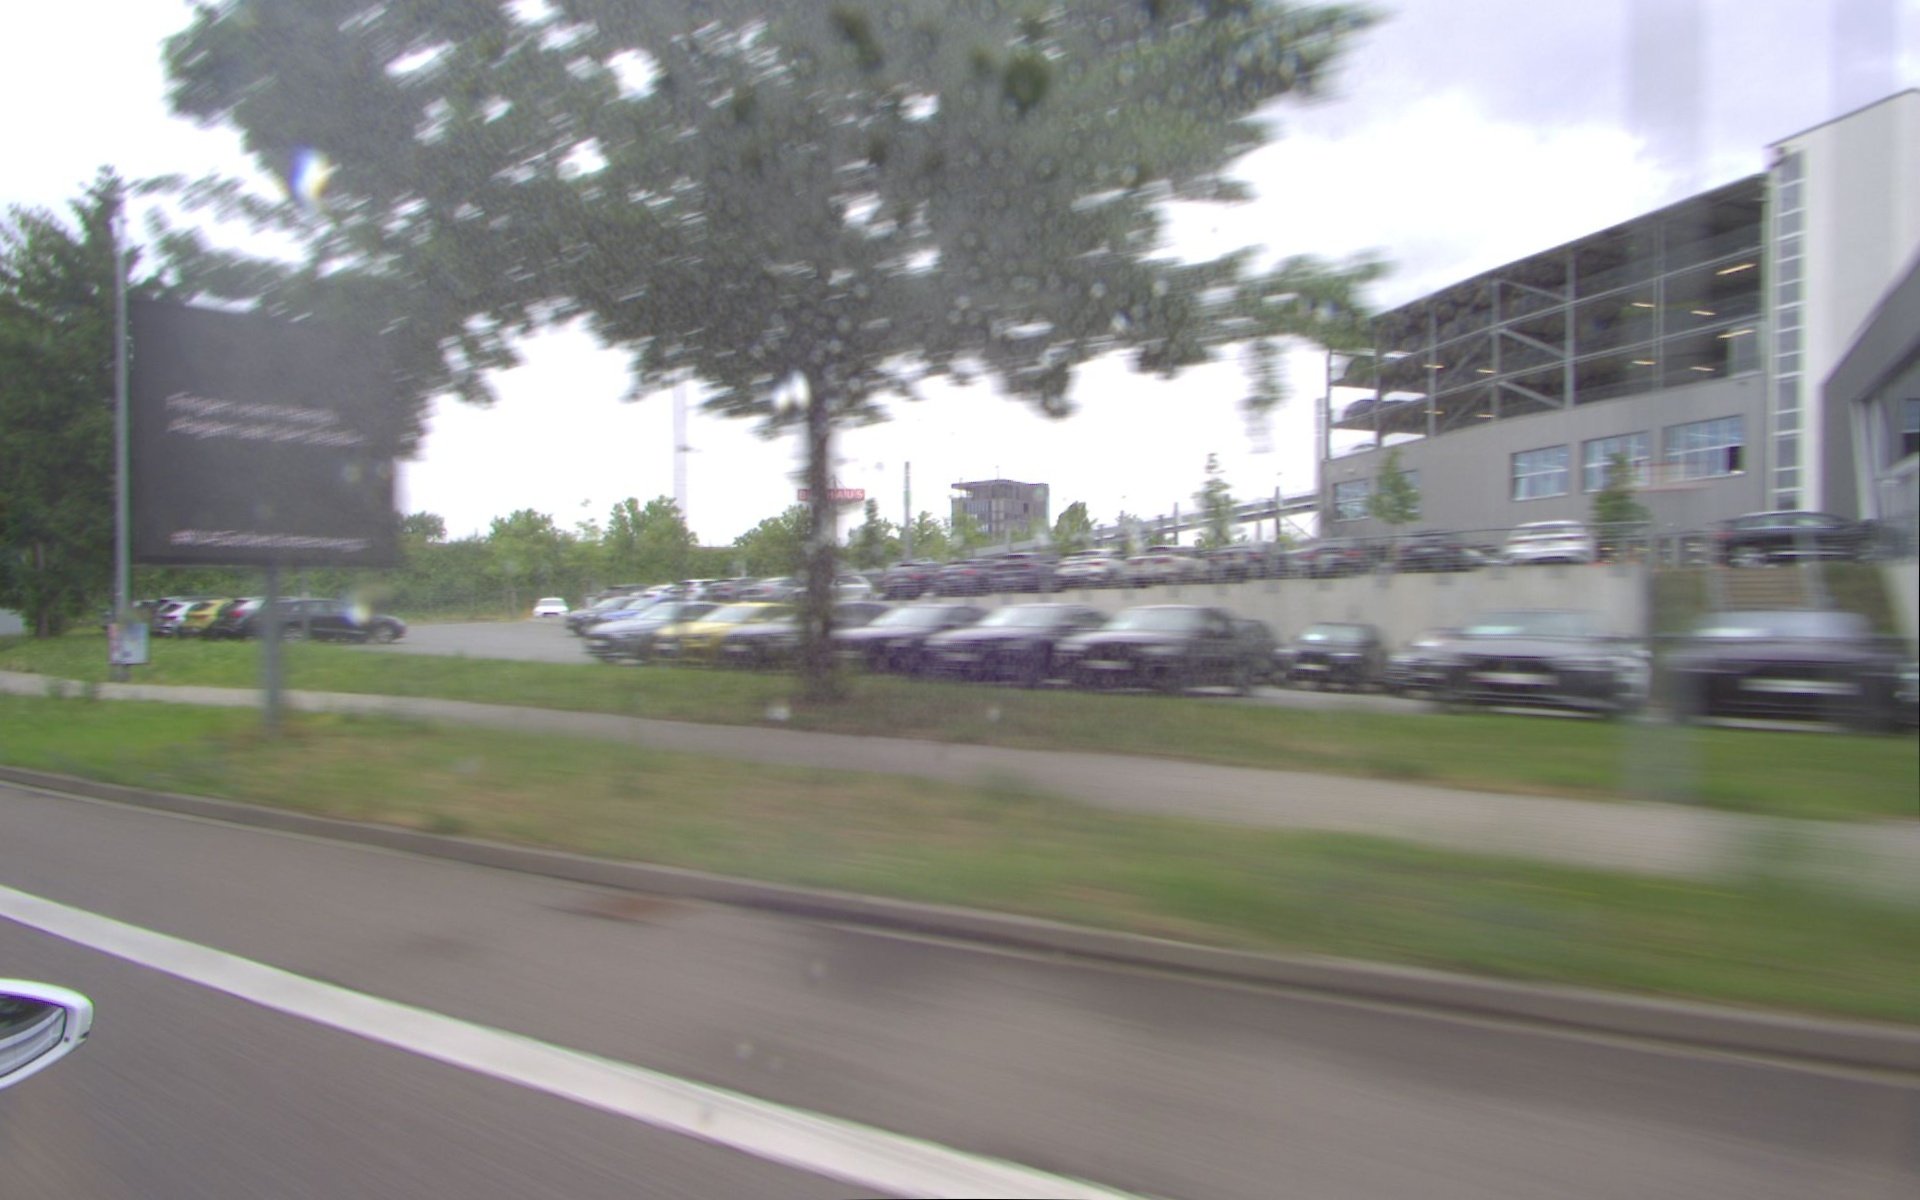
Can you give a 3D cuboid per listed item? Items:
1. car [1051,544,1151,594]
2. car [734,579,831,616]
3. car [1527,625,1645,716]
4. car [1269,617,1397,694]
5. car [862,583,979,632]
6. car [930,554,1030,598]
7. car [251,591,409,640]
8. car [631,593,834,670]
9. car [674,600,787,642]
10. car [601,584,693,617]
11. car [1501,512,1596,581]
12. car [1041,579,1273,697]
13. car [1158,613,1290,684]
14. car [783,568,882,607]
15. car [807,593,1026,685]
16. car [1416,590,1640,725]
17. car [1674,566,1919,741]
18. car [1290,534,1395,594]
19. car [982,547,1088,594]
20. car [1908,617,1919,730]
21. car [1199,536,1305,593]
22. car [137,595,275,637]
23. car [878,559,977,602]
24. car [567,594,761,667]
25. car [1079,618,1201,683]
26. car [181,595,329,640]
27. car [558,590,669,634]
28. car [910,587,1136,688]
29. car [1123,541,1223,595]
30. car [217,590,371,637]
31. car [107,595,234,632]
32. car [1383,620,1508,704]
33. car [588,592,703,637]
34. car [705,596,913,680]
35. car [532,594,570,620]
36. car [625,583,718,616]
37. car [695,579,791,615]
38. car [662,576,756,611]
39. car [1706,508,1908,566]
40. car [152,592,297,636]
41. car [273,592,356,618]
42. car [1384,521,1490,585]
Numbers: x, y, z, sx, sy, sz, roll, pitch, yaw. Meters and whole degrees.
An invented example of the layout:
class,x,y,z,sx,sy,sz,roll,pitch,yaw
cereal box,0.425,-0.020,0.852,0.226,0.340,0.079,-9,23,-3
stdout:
class,x,y,z,sx,sy,sz,roll,pitch,yaw
car,4.840,-1.019,33.907,1.706,1.455,4.075,2,0,34
car,-7.531,-0.069,42.820,1.706,1.455,4.075,2,0,34
car,13.104,1.455,20.869,1.838,1.626,3.979,2,-2,35
car,9.057,1.356,24.140,1.895,1.626,3.979,2,-2,35
car,-1.206,0.273,32.649,1.706,1.455,4.075,2,0,34
car,0.797,-0.855,36.748,1.706,1.455,4.075,2,0,34
car,-20.073,0.506,32.002,1.710,1.455,3.967,2,0,42
car,-4.766,0.644,21.491,1.820,1.455,4.075,2,0,34
car,-8.573,0.780,37.737,1.706,1.455,4.075,2,0,34
car,-15.143,0.035,48.580,1.706,1.455,4.075,2,0,34
car,15.762,-1.358,26.725,1.855,1.516,4.325,2,0,34
car,3.285,0.681,15.913,1.973,1.590,4.437,0,-4,35
car,6.862,1.276,25.771,1.973,1.626,3.979,2,-2,35
car,-5.246,-0.480,41.554,1.706,1.455,4.189,2,0,34
car,-0.678,0.688,18.685,1.818,1.508,4.332,0,-1,35
car,7.358,0.772,12.752,1.974,1.409,4.283,-1,-5,37
car,9.282,0.653,11.252,1.974,1.583,4.250,-1,-5,37
car,11.451,-1.029,29.812,1.943,1.516,4.325,2,0,34
car,2.687,-1.008,35.229,1.920,1.455,4.075,2,0,34
car,13.011,0.880,10.699,3.948,1.350,1.912,0,0,36
car,9.086,-1.056,30.895,1.855,1.516,4.325,2,0,34
car,-28.805,0.625,38.316,1.710,1.455,3.967,2,0,42
car,-1.204,-0.714,38.416,1.706,1.455,4.075,2,0,34
car,-6.626,0.670,22.823,1.706,1.455,4.075,2,0,34
car,4.940,1.304,27.134,1.706,1.562,4.075,2,0,34
car,-24.525,0.629,34.924,1.710,1.455,3.967,2,0,42
car,-14.109,0.506,40.982,1.706,1.642,4.075,2,0,34
car,1.225,0.698,17.330,1.903,1.522,4.334,0,-3,35
car,6.932,-0.998,32.355,1.706,1.516,4.075,2,0,34
car,-22.063,0.460,33.258,1.710,1.455,3.967,2,0,42
car,-33.195,0.580,42.161,1.710,1.455,3.967,2,0,42
car,10.848,1.381,22.237,1.838,1.626,3.979,2,-2,35
car,-12.185,0.567,39.032,1.706,1.642,4.075,2,0,34
car,-2.902,0.712,20.017,1.797,1.455,4.075,2,0,34
car,-23.991,0.375,58.736,1.968,1.416,3.986,2,0,-23
car,-13.542,0.000,47.233,1.706,1.455,4.075,2,0,34
car,-9.546,-0.113,44.251,1.706,1.455,4.075,2,0,34
car,-11.454,-0.287,45.969,1.706,1.455,4.075,2,0,34
car,23.627,-1.731,28.161,4.124,1.455,1.720,2,0,35
car,-26.502,0.527,36.151,1.710,1.455,3.967,2,0,42
car,-39.265,0.306,60.970,1.710,1.455,3.967,2,0,42
car,13.662,-1.280,28.545,2.040,1.516,4.325,2,0,34
